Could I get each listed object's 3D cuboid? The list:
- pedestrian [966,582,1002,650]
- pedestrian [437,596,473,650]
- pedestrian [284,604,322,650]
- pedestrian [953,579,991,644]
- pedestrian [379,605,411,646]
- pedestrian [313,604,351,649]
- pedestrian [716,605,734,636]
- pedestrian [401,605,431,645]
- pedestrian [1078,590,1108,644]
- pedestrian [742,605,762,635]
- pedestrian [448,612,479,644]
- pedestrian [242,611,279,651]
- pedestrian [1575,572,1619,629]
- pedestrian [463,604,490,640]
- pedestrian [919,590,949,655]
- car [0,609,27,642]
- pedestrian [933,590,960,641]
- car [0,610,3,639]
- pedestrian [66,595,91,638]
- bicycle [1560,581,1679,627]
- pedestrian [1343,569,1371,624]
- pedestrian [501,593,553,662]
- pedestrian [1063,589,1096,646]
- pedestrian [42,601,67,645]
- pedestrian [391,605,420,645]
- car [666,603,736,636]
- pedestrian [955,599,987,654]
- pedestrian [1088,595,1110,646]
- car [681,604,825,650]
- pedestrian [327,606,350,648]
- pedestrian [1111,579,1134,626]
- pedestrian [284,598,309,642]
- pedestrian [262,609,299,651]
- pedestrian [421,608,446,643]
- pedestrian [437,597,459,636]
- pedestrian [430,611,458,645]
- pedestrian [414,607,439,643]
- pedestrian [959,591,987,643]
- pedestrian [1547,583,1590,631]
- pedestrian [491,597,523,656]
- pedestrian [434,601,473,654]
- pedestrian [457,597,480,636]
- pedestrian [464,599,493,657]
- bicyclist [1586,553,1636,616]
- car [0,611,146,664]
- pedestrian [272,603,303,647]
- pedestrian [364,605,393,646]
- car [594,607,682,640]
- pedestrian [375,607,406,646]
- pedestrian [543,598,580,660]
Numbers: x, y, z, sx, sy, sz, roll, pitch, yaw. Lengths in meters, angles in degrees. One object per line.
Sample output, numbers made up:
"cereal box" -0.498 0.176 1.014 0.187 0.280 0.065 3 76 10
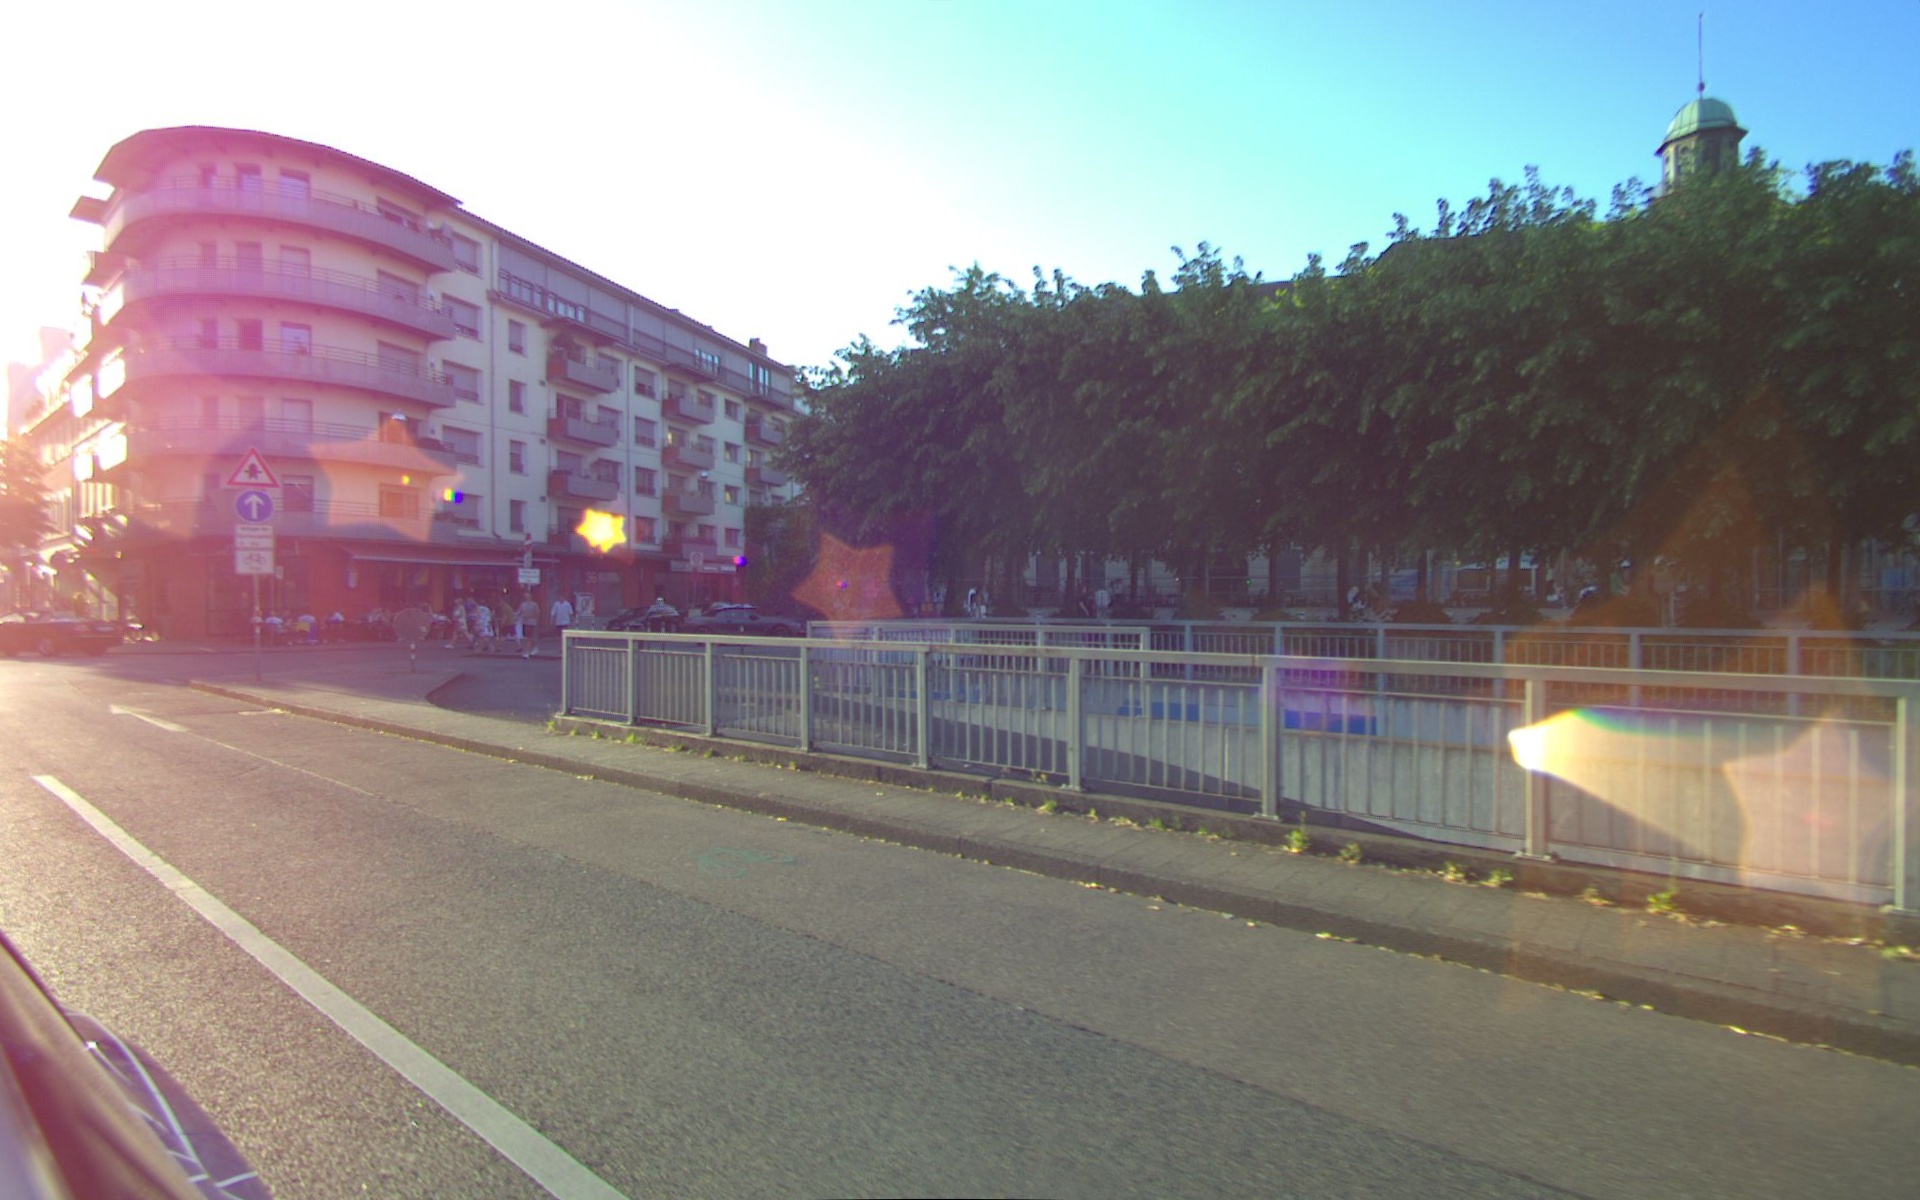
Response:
"pedestrian" 0.667 0.459 28.577 0.711 1.889 0.774 -2 -1 27
"pedestrian" -17.382 0.791 34.820 0.806 1.807 0.732 -2 -1 19
"pedestrian" -23.174 0.957 35.687 0.712 1.547 0.682 0 -9 34
"pedestrian" 0.362 0.334 29.682 0.882 1.867 0.980 -2 -1 15
"pedestrian" -21.826 0.974 39.099 0.707 1.547 0.756 3 0 13
"pedestrian" -22.550 0.942 36.327 0.709 1.547 0.848 4 1 19
"pedestrian" -13.915 1.218 60.000 0.991 1.841 0.948 -1 -1 -11
"pedestrian" -21.909 1.005 40.761 0.845 1.547 0.677 -2 -1 14
"pedestrian" 3.898 0.489 29.652 0.668 1.554 0.594 -1 -1 -14
"pedestrian" -12.272 1.175 59.694 0.911 1.740 0.700 -1 -1 13
"pedestrian" -20.764 1.155 42.332 0.877 1.315 0.842 1 1 37
"pedestrian" -24.022 1.054 34.780 0.675 1.291 0.970 0 1 -8
"pedestrian" 18.875 0.018 30.013 0.701 1.660 1.262 0 0 14
"pedestrian" -21.168 0.979 44.340 0.840 1.547 0.715 -1 -1 -5
"pedestrian" -0.725 0.613 28.075 0.676 1.759 0.717 -1 -1 -12
"car" -46.633 1.192 47.210 1.816 1.553 4.386 -1 0 39
"pedestrian" -0.472 0.552 36.391 0.756 1.795 0.793 -1 0 19
"car" -48.690 1.216 48.458 1.997 1.431 3.950 -1 0 37
"pedestrian" -41.093 0.749 47.169 0.803 1.963 0.722 -1 0 36
"bicycle" 16.387 0.104 25.219 2.311 1.110 0.945 0 0 20
"pedestrian" 12.720 -0.100 32.435 0.696 1.740 0.916 -1 -1 16
"pedestrian" -12.119 0.774 28.359 0.977 1.898 0.884 -2 -1 19
"pedestrian" 3.446 0.511 29.253 0.787 1.594 0.731 -2 -1 -3
"pedestrian" -41.524 1.046 46.417 0.739 1.963 0.722 -1 0 36
"pedestrian" -21.880 0.979 39.911 0.644 1.539 0.697 3 0 13
"car" -14.367 1.076 56.325 1.869 1.712 4.114 -2 -1 17
"pedestrian" 0.295 0.727 27.935 0.704 1.497 0.605 -1 -1 -14
"pedestrian" 4.785 0.701 34.861 0.617 1.740 0.799 -1 -1 16
"car" -7.105 0.925 34.892 4.402 1.441 2.099 -2 -1 12
"pedestrian" -23.326 1.007 37.983 0.638 1.547 0.754 0 -1 -40
"pedestrian" 7.202 0.110 44.807 0.827 2.029 1.059 -1 0 20
"pedestrian" -27.470 0.830 41.882 0.606 1.790 0.615 -1 -1 15
"pedestrian" -23.244 1.014 34.613 0.758 1.392 0.841 0 0 -8
"pedestrian" -22.006 1.051 42.332 0.708 1.432 0.599 -2 -1 16
"pedestrian" -22.818 0.739 45.119 0.606 1.752 0.614 -1 -1 16
"pedestrian" -21.022 1.127 41.252 0.649 1.355 0.746 2 0 15
"pedestrian" -21.834 1.029 41.420 0.661 1.445 0.558 1 0 15
"pedestrian" 0.473 0.592 36.060 0.696 1.833 1.117 -1 -1 16
"pedestrian" 18.170 0.200 30.237 0.730 1.390 1.262 0 0 13
"pedestrian" -14.959 0.875 33.408 0.838 1.891 0.716 -1 -1 -31
"pedestrian" -17.820 0.963 35.606 0.845 1.807 0.863 -2 -1 19
"pedestrian" -22.434 0.745 46.185 0.712 1.734 0.665 -1 -1 16
"pedestrian" -15.531 0.899 32.668 0.702 1.816 0.885 -1 -1 -16
"bicyclist" 16.218 -0.378 25.251 0.747 1.521 1.372 -1 0 20
"car" -26.440 1.062 29.065 4.546 1.418 1.813 0 1 -5
"pedestrian" -24.160 0.909 36.343 0.702 1.547 0.855 -1 -1 -17
"pedestrian" -22.685 0.987 39.478 0.669 1.547 0.651 2 0 15
"car" -16.049 1.151 50.699 1.865 1.564 4.601 -2 -1 19
"pedestrian" -22.595 1.034 40.176 0.762 1.515 0.779 0 -1 15
"pedestrian" -11.844 0.850 30.124 0.968 1.807 0.893 -1 -1 -20
